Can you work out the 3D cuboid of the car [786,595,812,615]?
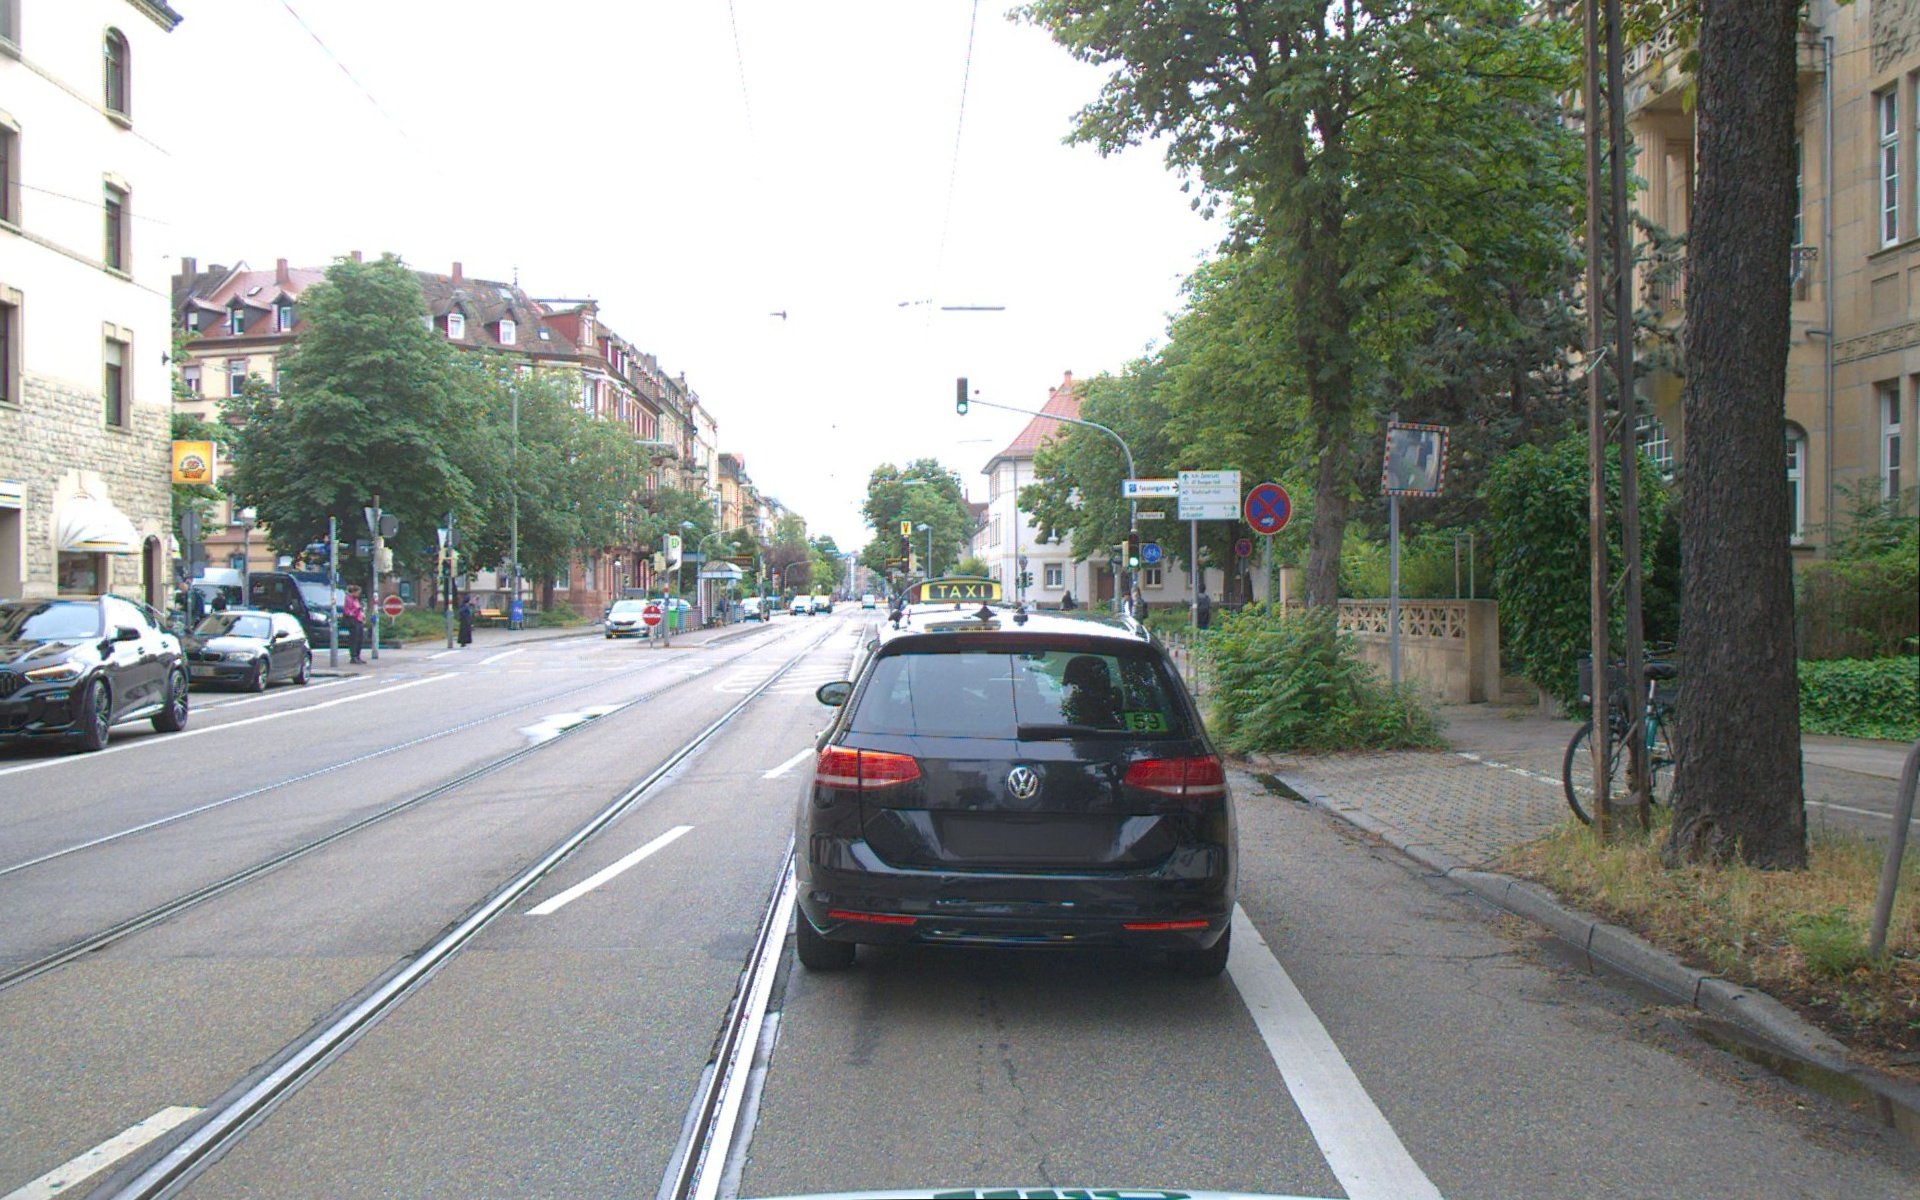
[{"bbox_3d":[-13.380,0.367,137.931,1.758,1.624,4.000,-1,0,0],"label":"car"}]

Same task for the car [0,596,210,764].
[{"bbox_3d":[-10.223,0.837,18.896,1.850,1.639,4.874,-3,0,-11],"label":"car"}]

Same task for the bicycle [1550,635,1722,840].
[{"bbox_3d":[4.424,0.839,10.754,0.425,1.219,1.892,-1,-1,42],"label":"bicycle"}]

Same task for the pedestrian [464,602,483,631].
[{"bbox_3d":[-20.310,0.698,69.070,0.582,1.189,0.836,0,0,-32],"label":"pedestrian"}]

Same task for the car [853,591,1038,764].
[{"bbox_3d":[-0.220,0.695,17.055,1.689,1.573,3.998,0,0,-3],"label":"car"}]

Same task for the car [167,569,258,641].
[{"bbox_3d":[-27.688,0.173,61.170,2.160,2.571,5.315,0,0,-34],"label":"car"}]

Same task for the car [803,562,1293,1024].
[{"bbox_3d":[0.220,0.649,7.673,1.689,1.573,3.998,0,0,-3],"label":"car"}]

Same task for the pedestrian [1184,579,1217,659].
[{"bbox_3d":[5.684,0.445,39.101,0.619,1.846,0.725,0,0,-5],"label":"pedestrian"}]

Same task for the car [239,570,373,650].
[{"bbox_3d":[-21.224,0.304,53.556,2.170,2.460,5.291,0,0,-45],"label":"car"}]

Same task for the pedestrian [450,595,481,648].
[{"bbox_3d":[-15.819,0.687,52.902,0.819,1.692,0.591,-1,0,-1],"label":"pedestrian"}]

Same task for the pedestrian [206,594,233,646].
[{"bbox_3d":[-25.405,0.677,56.734,0.694,1.745,0.543,0,0,-43],"label":"pedestrian"}]

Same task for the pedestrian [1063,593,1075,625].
[{"bbox_3d":[5.518,0.453,83.797,0.569,1.581,0.610,0,0,11],"label":"pedestrian"}]

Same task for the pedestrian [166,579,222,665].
[{"bbox_3d":[-18.423,0.523,39.803,0.954,2.049,0.835,-1,0,-3],"label":"pedestrian"}]

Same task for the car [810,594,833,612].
[{"bbox_3d":[-12.901,0.276,154.488,1.758,1.624,4.000,-1,0,0],"label":"car"}]

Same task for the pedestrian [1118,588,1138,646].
[{"bbox_3d":[5.502,0.551,54.087,0.504,1.862,0.418,-3,0,-2],"label":"pedestrian"}]

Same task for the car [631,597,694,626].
[{"bbox_3d":[-17.479,0.675,97.320,1.687,1.651,3.860,-1,0,25],"label":"car"}]

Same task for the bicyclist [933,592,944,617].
[{"bbox_3d":[-1.414,0.318,106.697,0.637,1.596,0.696,-1,0,4],"label":"bicyclist"}]

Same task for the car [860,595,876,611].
[{"bbox_3d":[-12.001,0.445,214.979,1.992,2.049,3.998,1,-1,-3],"label":"car"}]

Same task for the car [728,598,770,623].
[{"bbox_3d":[-13.302,0.631,104.273,1.684,1.490,3.866,-1,0,7],"label":"car"}]

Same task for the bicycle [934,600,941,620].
[{"bbox_3d":[-1.427,0.638,106.665,0.291,1.244,1.431,-1,0,5],"label":"bicycle"}]

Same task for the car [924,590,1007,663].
[{"bbox_3d":[0.080,0.556,37.294,1.689,1.573,3.998,0,0,-3],"label":"car"}]

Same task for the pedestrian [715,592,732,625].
[{"bbox_3d":[-11.004,0.400,76.866,0.700,1.547,0.589,-1,0,-1],"label":"pedestrian"}]

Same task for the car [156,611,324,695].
[{"bbox_3d":[-13.403,0.938,31.042,1.616,1.385,4.125,2,0,-5],"label":"car"}]

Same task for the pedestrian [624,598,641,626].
[{"bbox_3d":[-17.936,0.663,90.584,0.577,1.547,0.647,-1,0,33],"label":"pedestrian"}]

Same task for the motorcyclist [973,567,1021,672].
[{"bbox_3d":[0.618,0.323,27.510,0.688,1.722,0.805,-1,0,9],"label":"motorcyclist"}]

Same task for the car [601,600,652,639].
[{"bbox_3d":[-13.054,0.740,64.885,1.657,1.435,3.993,-2,0,-7],"label":"car"}]

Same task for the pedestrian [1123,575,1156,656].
[{"bbox_3d":[4.205,0.359,38.771,0.573,1.862,0.604,-3,0,-2],"label":"pedestrian"}]

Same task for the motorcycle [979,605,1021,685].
[{"bbox_3d":[0.667,0.723,27.425,0.437,1.257,1.908,-1,0,9],"label":"motorcycle"}]

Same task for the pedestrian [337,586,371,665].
[{"bbox_3d":[-14.597,0.601,39.846,0.611,1.875,0.609,0,0,-5],"label":"pedestrian"}]
